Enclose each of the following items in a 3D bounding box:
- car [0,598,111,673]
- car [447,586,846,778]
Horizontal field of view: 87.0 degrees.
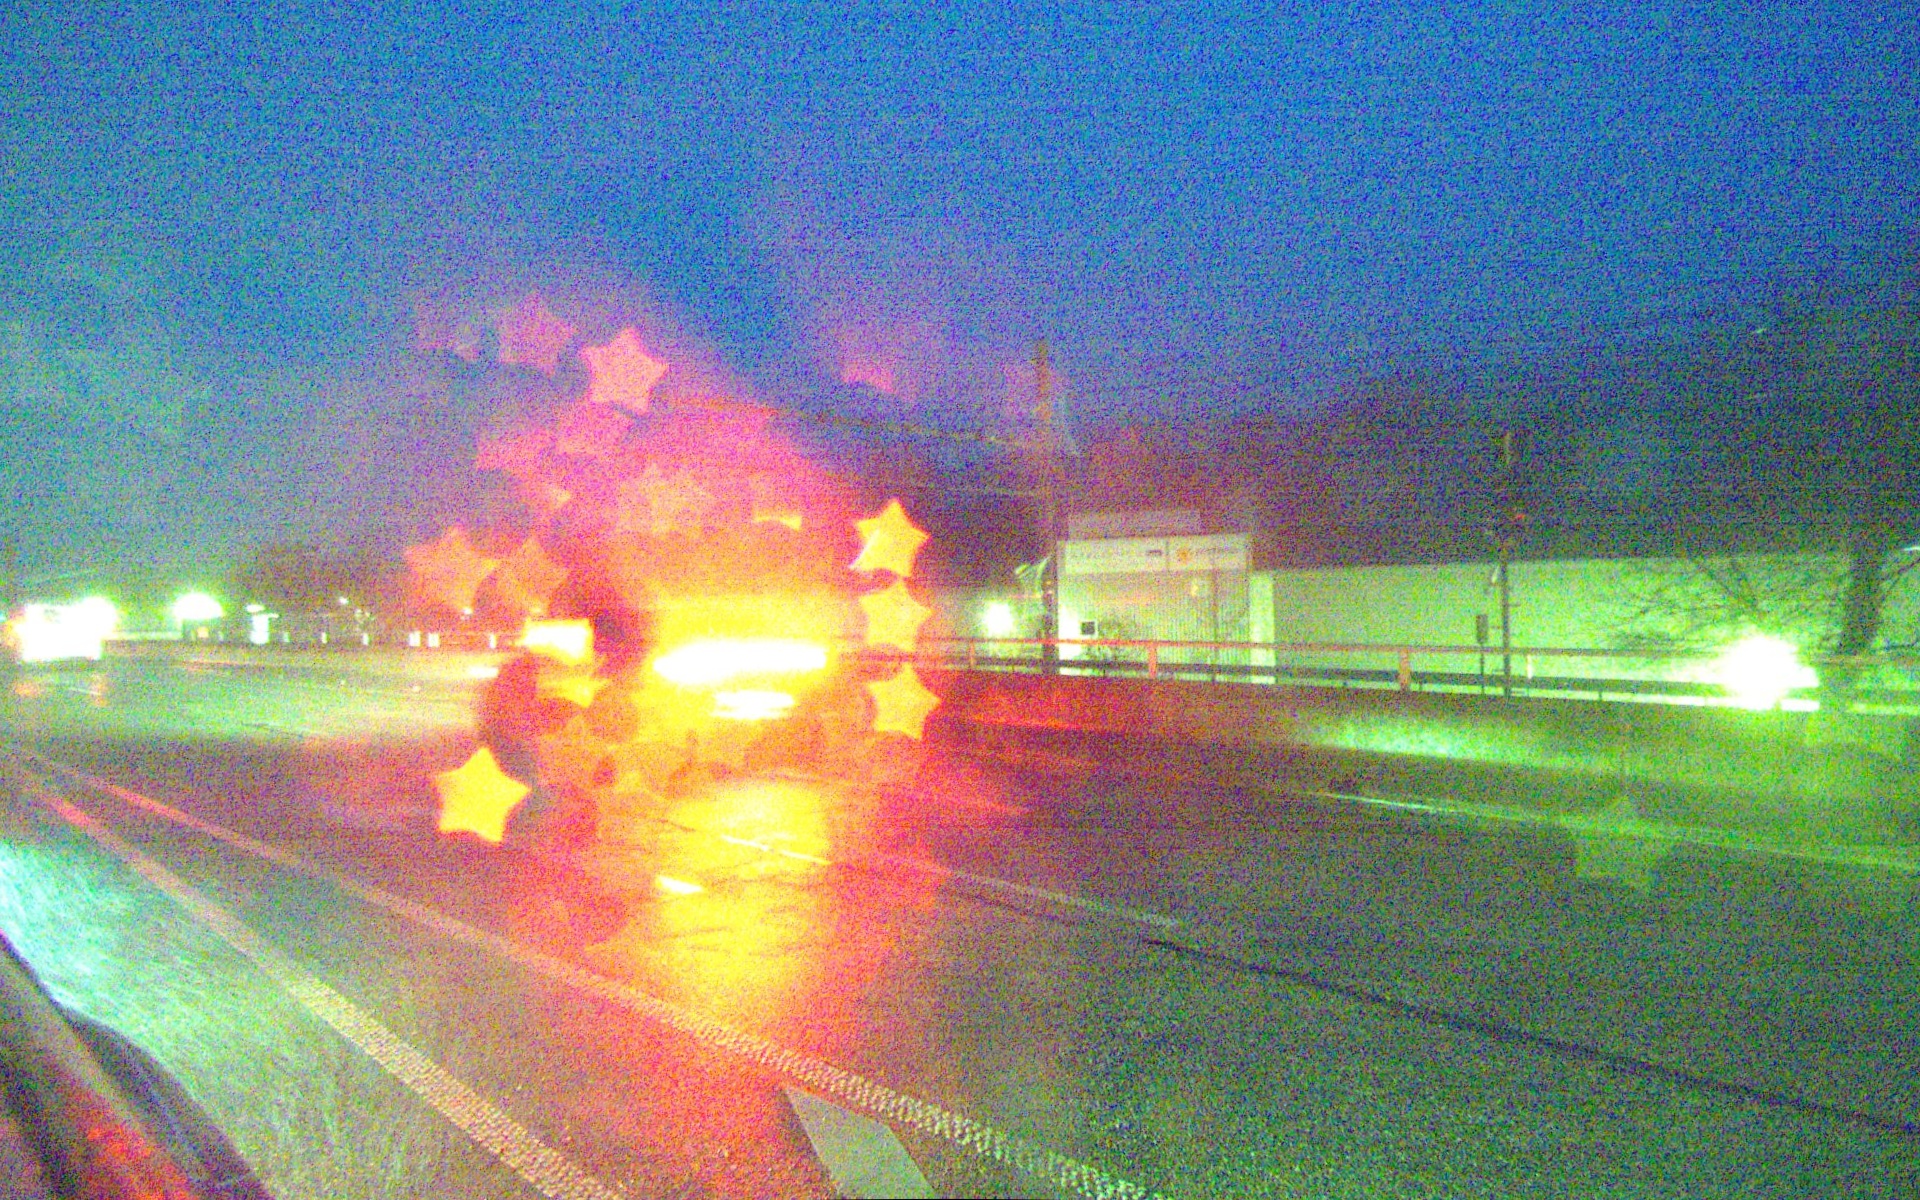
[{"bbox_3d":[-27.165,1.048,29.968,4.704,2.029,2.066,-2,-2,36],"label":"car"},{"bbox_3d":[-3.413,0.766,10.531,4.482,1.580,1.868,-3,-2,41],"label":"car"}]
